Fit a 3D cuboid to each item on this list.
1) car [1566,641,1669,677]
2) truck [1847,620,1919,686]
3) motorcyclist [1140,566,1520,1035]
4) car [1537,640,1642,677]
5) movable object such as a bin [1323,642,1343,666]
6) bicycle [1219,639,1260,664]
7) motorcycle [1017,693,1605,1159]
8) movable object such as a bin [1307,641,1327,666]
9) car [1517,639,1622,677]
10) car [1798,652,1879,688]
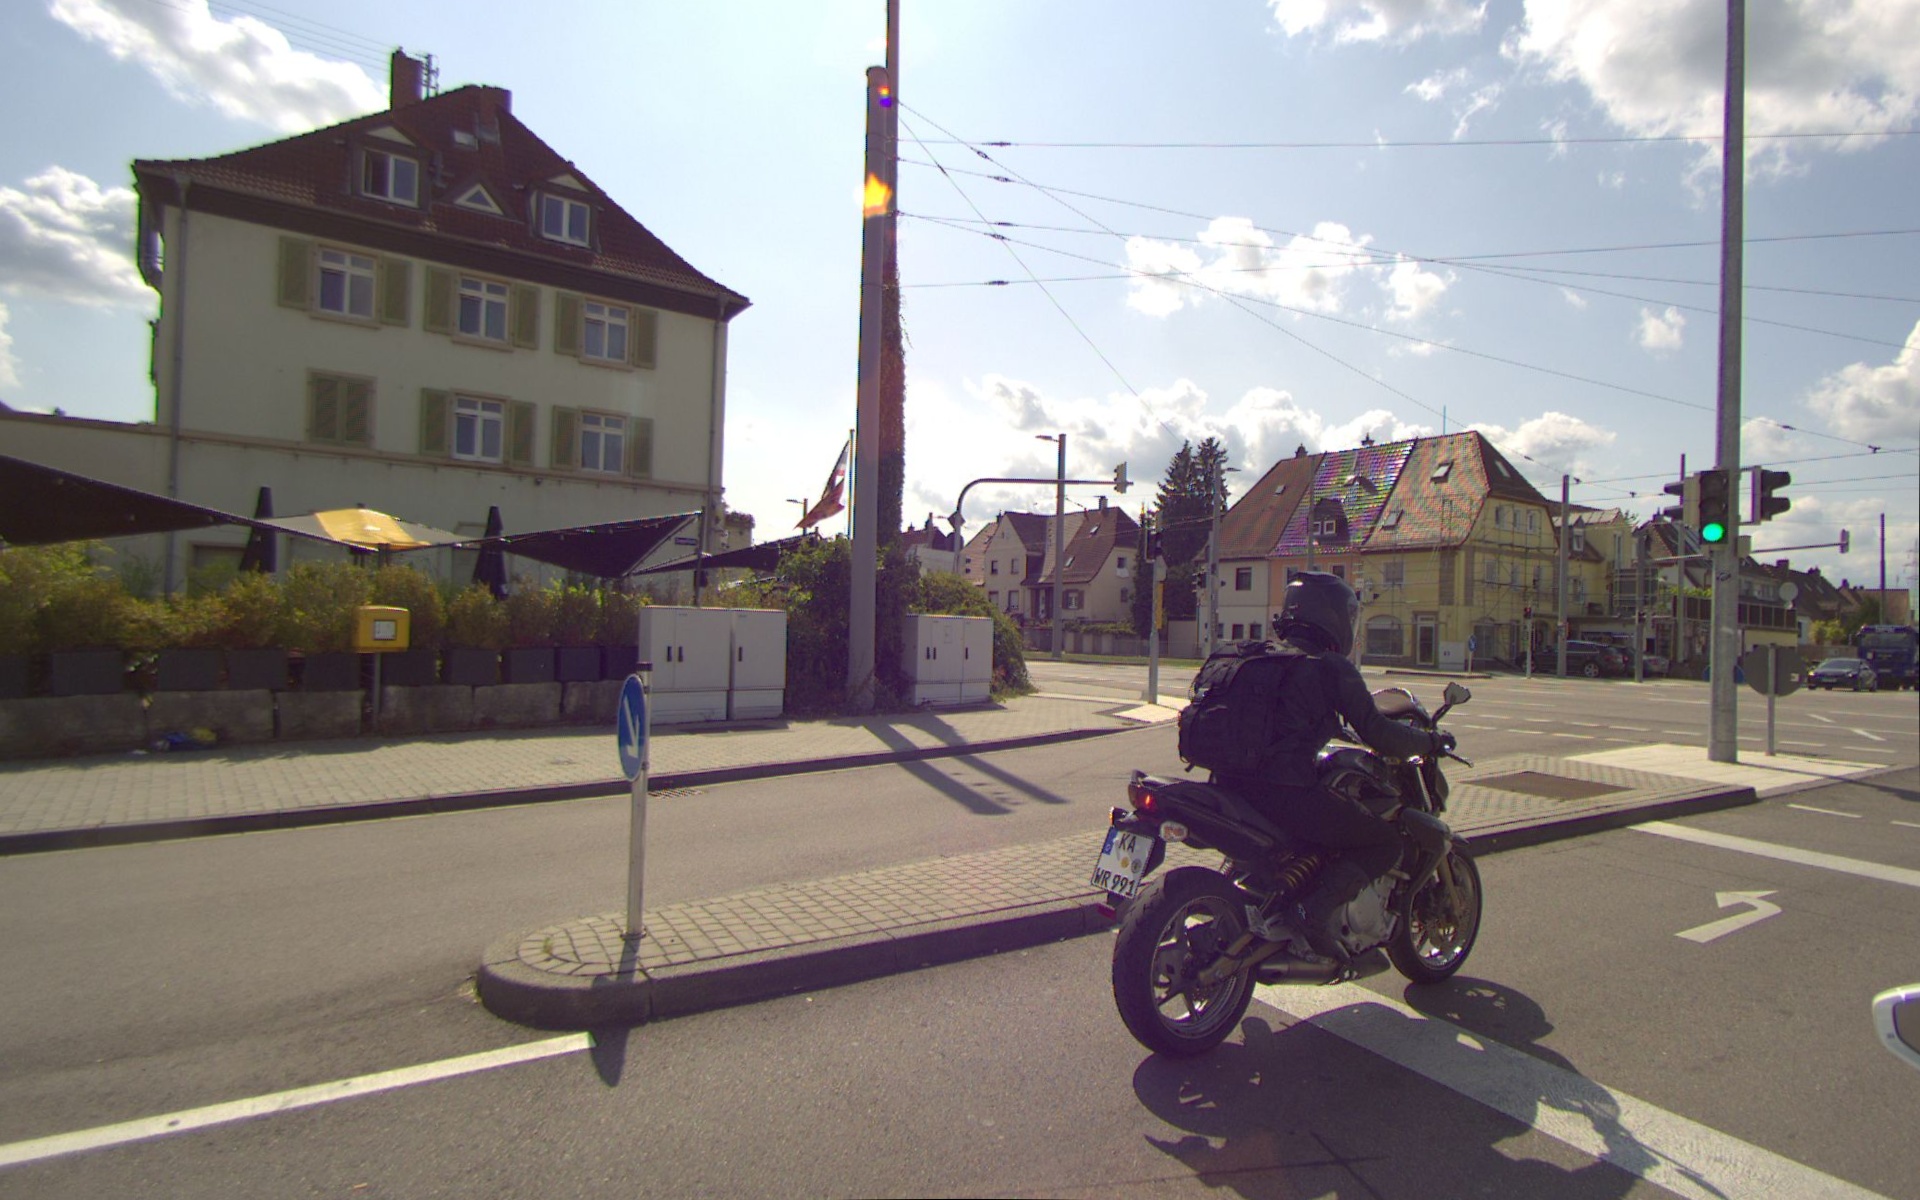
[{"bbox_3d":[33.268,2.975,50.950,1.422,1.513,4.103,3,0,-37],"label":"car"},{"bbox_3d":[49.018,2.799,52.498,7.518,3.230,2.747,4,-2,-39],"label":"truck"},{"bbox_3d":[1.341,0.596,3.668,1.088,1.417,0.818,-1,1,-34],"label":"motorcyclist"},{"bbox_3d":[30.987,2.838,49.546,1.494,1.513,4.103,3,0,-37],"label":"car"},{"bbox_3d":[20.182,2.905,54.341,0.675,1.277,0.677,2,0,-33],"label":"movable object such as a bin"},{"bbox_3d":[16.193,2.991,58.249,2.428,1.373,0.770,2,-1,-30],"label":"bicycle"},{"bbox_3d":[1.394,0.967,3.712,2.335,1.142,0.836,2,-2,-35],"label":"motorcycle"},{"bbox_3d":[19.059,2.855,53.648,0.675,1.277,0.677,2,0,-33],"label":"movable object such as a bin"},{"bbox_3d":[28.937,2.745,47.795,1.169,1.513,4.103,3,0,-37],"label":"car"},{"bbox_3d":[39.791,3.180,45.475,4.292,1.506,1.815,3,-2,-36],"label":"car"}]
